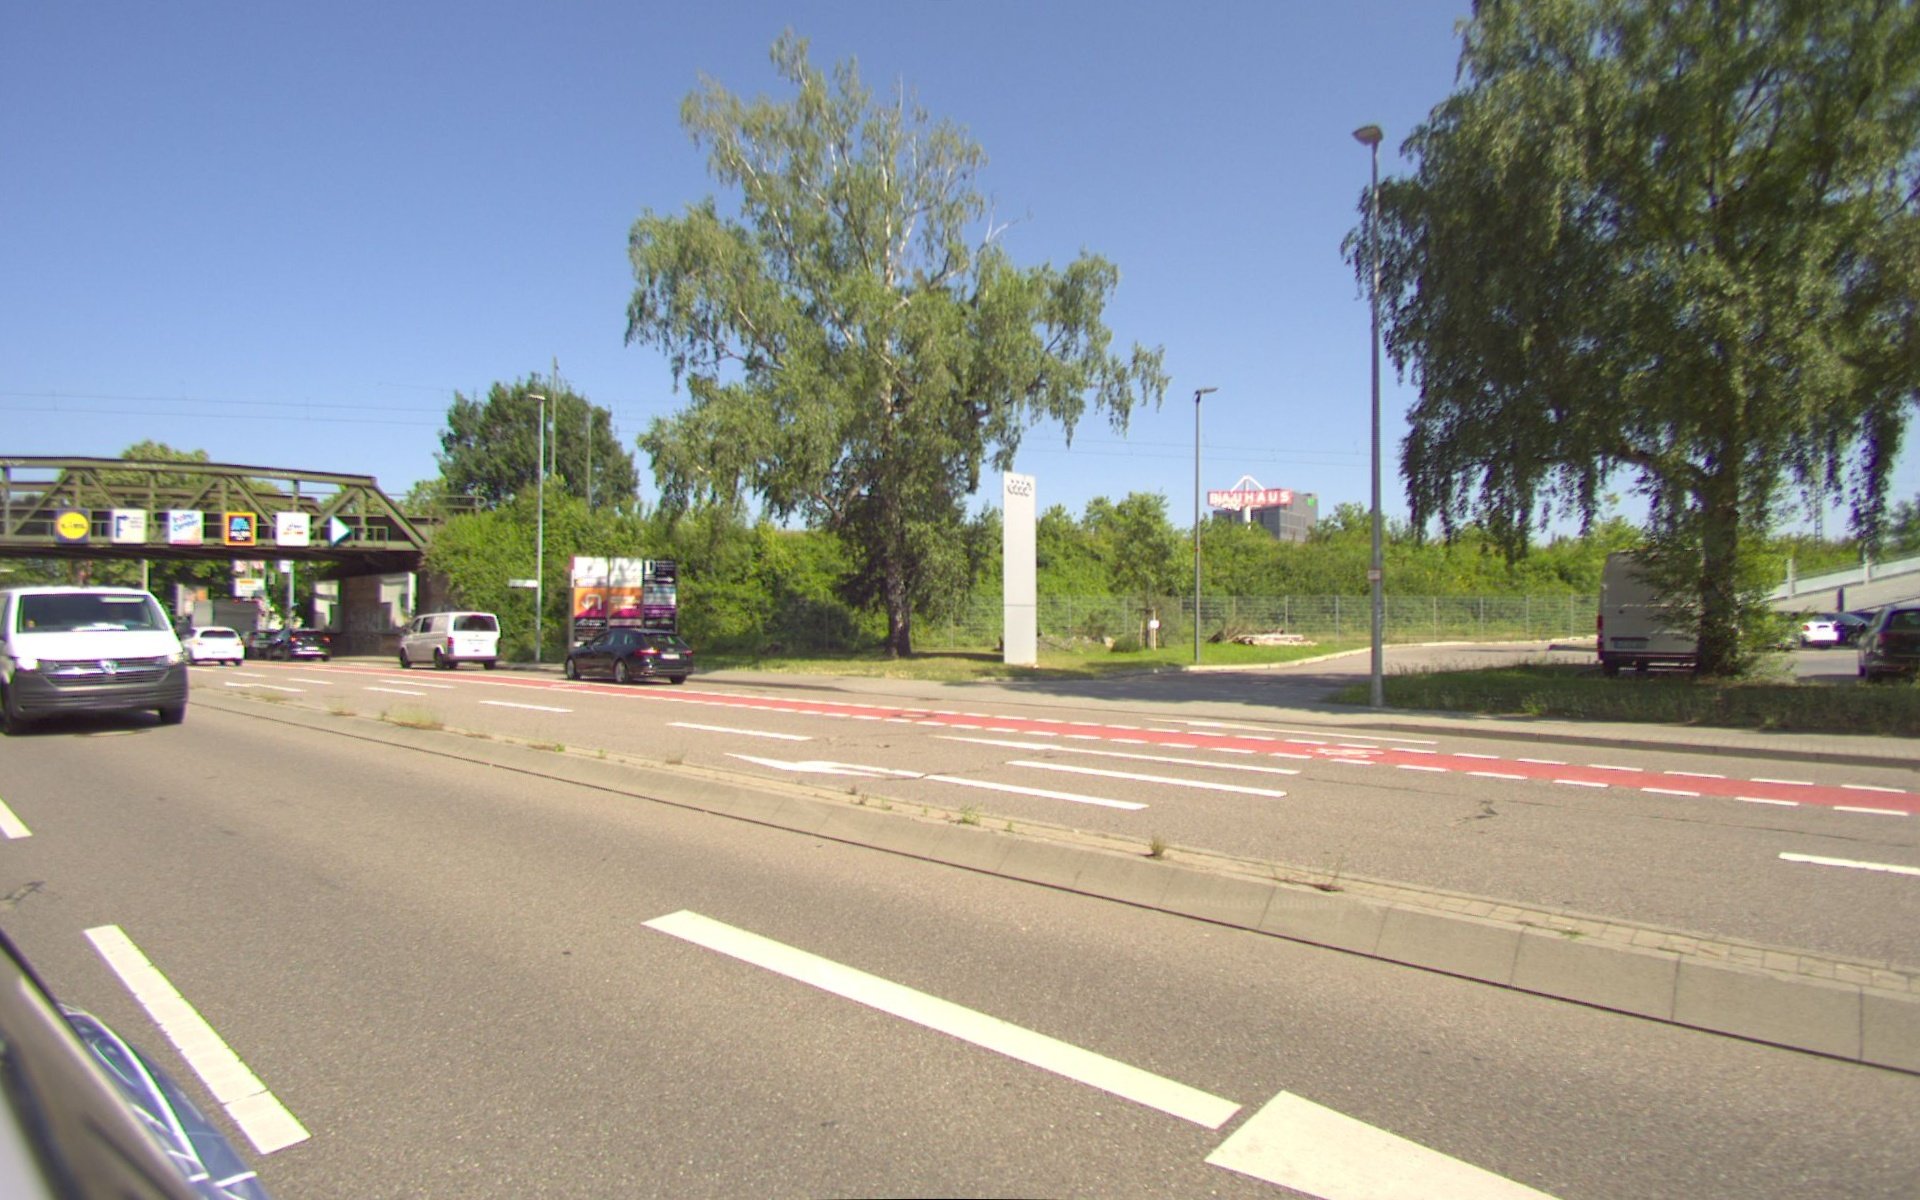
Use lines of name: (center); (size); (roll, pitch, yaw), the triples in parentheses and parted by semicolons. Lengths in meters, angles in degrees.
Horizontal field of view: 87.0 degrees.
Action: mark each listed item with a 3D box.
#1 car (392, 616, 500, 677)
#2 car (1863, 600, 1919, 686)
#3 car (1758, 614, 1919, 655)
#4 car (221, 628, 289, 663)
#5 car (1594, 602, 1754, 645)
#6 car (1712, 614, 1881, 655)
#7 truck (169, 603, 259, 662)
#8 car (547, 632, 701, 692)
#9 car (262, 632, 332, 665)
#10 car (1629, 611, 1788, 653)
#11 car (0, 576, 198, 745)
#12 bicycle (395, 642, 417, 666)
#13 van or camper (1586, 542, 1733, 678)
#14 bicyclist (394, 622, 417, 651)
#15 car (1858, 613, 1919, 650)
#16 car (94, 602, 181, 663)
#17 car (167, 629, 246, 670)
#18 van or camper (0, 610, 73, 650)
car: (-18.343, 1.626, 35.985); (1.970, 2.029, 5.351); (2, -3, -43)
car: (17.879, 0.756, 18.416); (4.038, 1.449, 1.745); (1, -2, -43)
car: (33.442, 1.292, 38.485); (1.966, 1.453, 4.562); (0, -2, -15)
car: (-36.464, 2.393, 52.301); (4.287, 1.703, 1.962); (-3, -5, 42)
car: (26.005, 0.866, 37.062); (1.966, 1.453, 4.562); (0, -2, -15)
car: (31.257, 1.288, 38.010); (1.966, 1.453, 4.562); (0, -2, -15)
truck: (-41.745, 1.802, 56.574); (7.062, 3.112, 2.318); (-2, -2, 39)
car: (-8.976, 1.576, 26.828); (4.683, 1.424, 1.971); (-2, -2, 45)
car: (-31.114, 2.297, 47.448); (4.177, 1.506, 1.749); (-3, -5, 42)
car: (27.950, 1.190, 38.004); (1.966, 1.453, 4.562); (0, -2, -15)
car: (-12.651, 0.792, 14.390); (4.971, 2.009, 1.862); (-2, -2, 41)
bicycle: (-24.344, 2.364, 44.464); (0.440, 1.035, 1.617); (2, -3, -43)
van or camper: (14.759, 0.174, 21.203); (1.998, 2.489, 5.325); (-3, -1, 39)
bicyclist: (-24.344, 1.603, 44.435); (0.626, 1.237, 0.951); (2, -3, -43)
car: (38.372, 1.230, 39.548); (1.966, 1.453, 4.562); (0, -2, -15)
car: (-40.462, 1.619, 49.700); (6.933, 2.827, 1.973); (-2, -4, 41)
car: (-29.141, 1.936, 39.107); (3.827, 1.506, 1.625); (-3, -5, 41)
van or camper: (-77.943, 2.522, 84.310); (2.596, 3.179, 5.710); (-3, -1, 37)
